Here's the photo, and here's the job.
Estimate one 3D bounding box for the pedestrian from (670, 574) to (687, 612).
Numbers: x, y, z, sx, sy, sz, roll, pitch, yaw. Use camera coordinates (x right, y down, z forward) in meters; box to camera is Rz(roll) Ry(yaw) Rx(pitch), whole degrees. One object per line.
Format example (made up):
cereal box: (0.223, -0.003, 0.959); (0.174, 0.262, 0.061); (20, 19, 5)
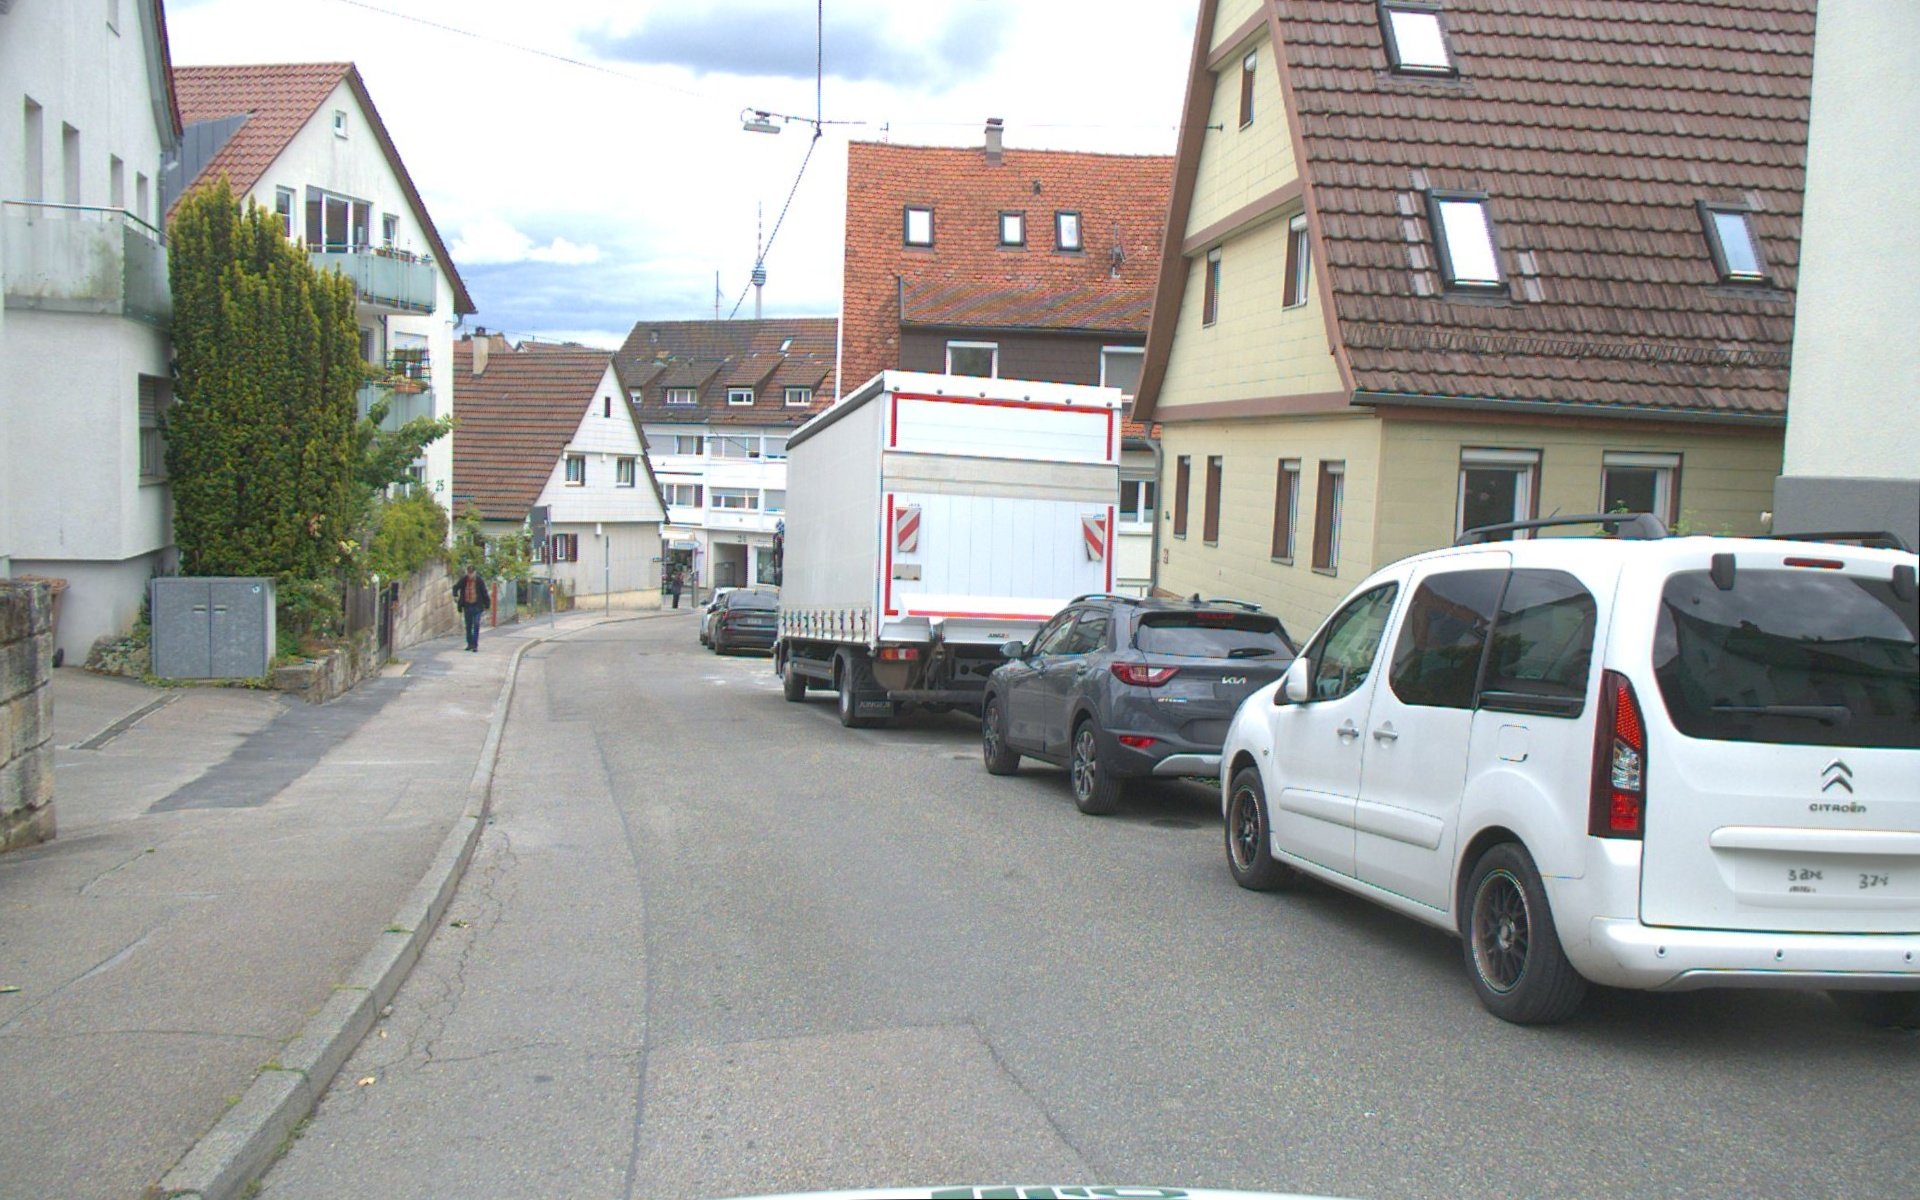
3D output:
pedestrian: (-13.098, -0.336, 77.001); (0.637, 1.714, 0.600); (1, 2, -22)

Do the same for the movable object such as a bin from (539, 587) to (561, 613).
movable object such as a bin: (-14.998, -0.004, 60.452); (0.516, 0.899, 0.490); (5, 0, 21)

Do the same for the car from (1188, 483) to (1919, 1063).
car: (2.616, 0.565, 7.548); (1.802, 1.846, 4.293); (3, 0, -10)

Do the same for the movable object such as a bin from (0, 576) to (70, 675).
movable object such as a bin: (-9.697, 0.265, 17.293); (0.504, 0.916, 0.430); (8, 4, -15)

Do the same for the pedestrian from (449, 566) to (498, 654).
pedestrian: (-9.852, 0.198, 33.528); (0.826, 1.707, 0.973); (3, -1, -14)

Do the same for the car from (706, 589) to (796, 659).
car: (-4.860, 0.510, 38.029); (1.644, 1.433, 4.039); (3, 0, -12)

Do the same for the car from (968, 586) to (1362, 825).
car: (1.397, 0.712, 12.942); (1.703, 1.532, 4.037); (3, -1, -14)

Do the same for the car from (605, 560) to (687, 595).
car: (-17.436, -1.272, 91.837); (4.276, 1.810, 1.943); (2, 3, 31)

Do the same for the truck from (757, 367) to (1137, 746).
truck: (-0.565, -0.447, 20.251); (2.631, 3.660, 8.073); (2, 0, -15)

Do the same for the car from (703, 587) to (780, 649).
car: (-5.774, 0.427, 43.394); (1.762, 1.471, 4.287); (3, 0, -10)

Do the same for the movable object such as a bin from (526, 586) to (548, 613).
movable object such as a bin: (-15.492, -0.014, 60.581); (0.516, 0.933, 0.490); (5, 0, 21)

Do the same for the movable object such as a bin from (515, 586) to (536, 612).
movable object such as a bin: (-15.974, -0.038, 60.825); (0.484, 0.893, 0.453); (5, 0, 22)
